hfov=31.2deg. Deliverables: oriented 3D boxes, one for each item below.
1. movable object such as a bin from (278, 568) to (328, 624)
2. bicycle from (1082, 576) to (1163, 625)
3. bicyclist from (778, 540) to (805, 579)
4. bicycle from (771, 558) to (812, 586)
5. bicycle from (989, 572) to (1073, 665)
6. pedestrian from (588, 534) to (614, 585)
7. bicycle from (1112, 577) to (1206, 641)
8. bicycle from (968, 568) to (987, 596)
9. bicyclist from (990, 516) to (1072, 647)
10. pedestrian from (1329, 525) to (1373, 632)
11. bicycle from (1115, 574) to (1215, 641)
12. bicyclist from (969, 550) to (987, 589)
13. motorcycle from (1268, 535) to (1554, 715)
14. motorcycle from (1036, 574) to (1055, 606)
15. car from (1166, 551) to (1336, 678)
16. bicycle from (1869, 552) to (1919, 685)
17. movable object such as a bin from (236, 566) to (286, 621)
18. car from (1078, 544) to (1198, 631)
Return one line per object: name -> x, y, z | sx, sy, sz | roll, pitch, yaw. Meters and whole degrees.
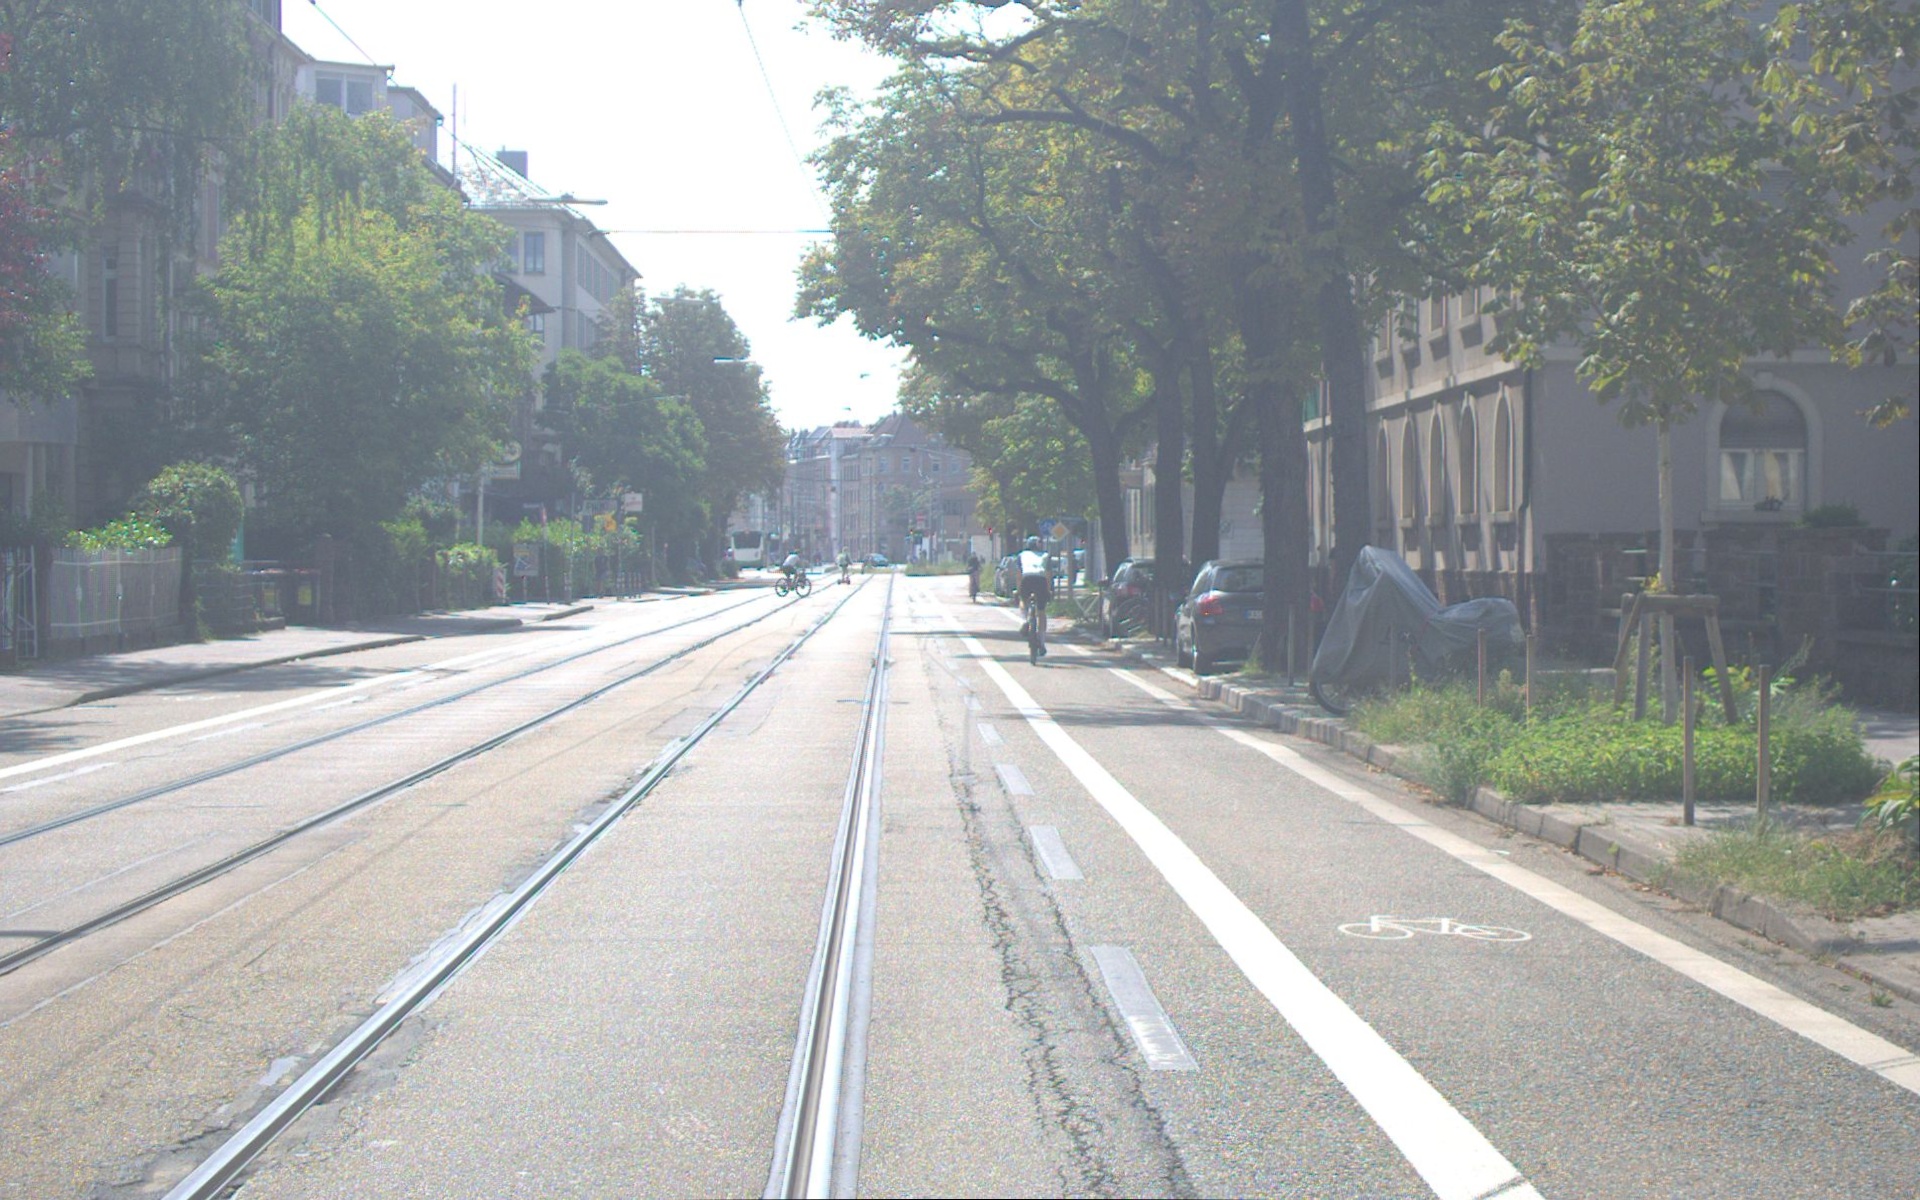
movable object such as a bin -> -12.973, -0.088, 67.889 | 0.786, 1.072, 0.803 | 2, 0, 2
bicycle -> 3.497, 0.009, 74.080 | 1.713, 1.028, 0.566 | 0, 0, 0
bicyclist -> -6.014, -1.445, 122.493 | 0.759, 1.387, 0.778 | 0, 0, 15
bicycle -> -6.004, -1.008, 122.561 | 0.759, 0.987, 2.296 | 0, 0, 16
bicycle -> 0.989, 0.244, 48.752 | 1.148, 1.265, 2.712 | 0, 1, 1
pedestrian -> -12.386, -1.390, 118.594 | 0.779, 1.750, 1.040 | 0, 0, 0
bicycle -> 3.460, 0.155, 59.677 | 1.606, 1.100, 0.398 | 1, 1, 6
bicycle -> 0.602, -0.602, 115.287 | 0.588, 0.936, 2.172 | 0, 0, 1
bicyclist -> 0.991, -0.263, 48.514 | 1.125, 1.830, 0.956 | 0, 0, 0
pedestrian -> 6.941, -0.374, 61.031 | 0.706, 1.885, 0.714 | 0, 0, 1
bicycle -> 3.590, 0.136, 60.061 | 1.723, 1.145, 0.377 | 1, 1, 6
bicyclist -> 0.599, -1.024, 115.247 | 0.579, 1.274, 0.471 | 0, 0, 1
motorcycle -> 4.003, 0.238, 30.653 | 2.344, 1.535, 0.966 | -2, -1, 40
motorcycle -> 2.888, -0.351, 116.085 | 0.549, 1.064, 2.330 | 0, 0, -1
car -> 3.877, 0.156, 46.397 | 1.840, 1.527, 4.115 | 0, 2, -1
bicycle -> 10.081, 0.181, 35.916 | 0.594, 1.354, 2.369 | 0, 1, 2
movable object such as a bin -> -13.790, -0.133, 67.814 | 0.786, 1.072, 0.803 | 2, 0, 2
car -> 3.277, -0.253, 63.921 | 1.840, 1.527, 4.780 | -1, 1, -1
